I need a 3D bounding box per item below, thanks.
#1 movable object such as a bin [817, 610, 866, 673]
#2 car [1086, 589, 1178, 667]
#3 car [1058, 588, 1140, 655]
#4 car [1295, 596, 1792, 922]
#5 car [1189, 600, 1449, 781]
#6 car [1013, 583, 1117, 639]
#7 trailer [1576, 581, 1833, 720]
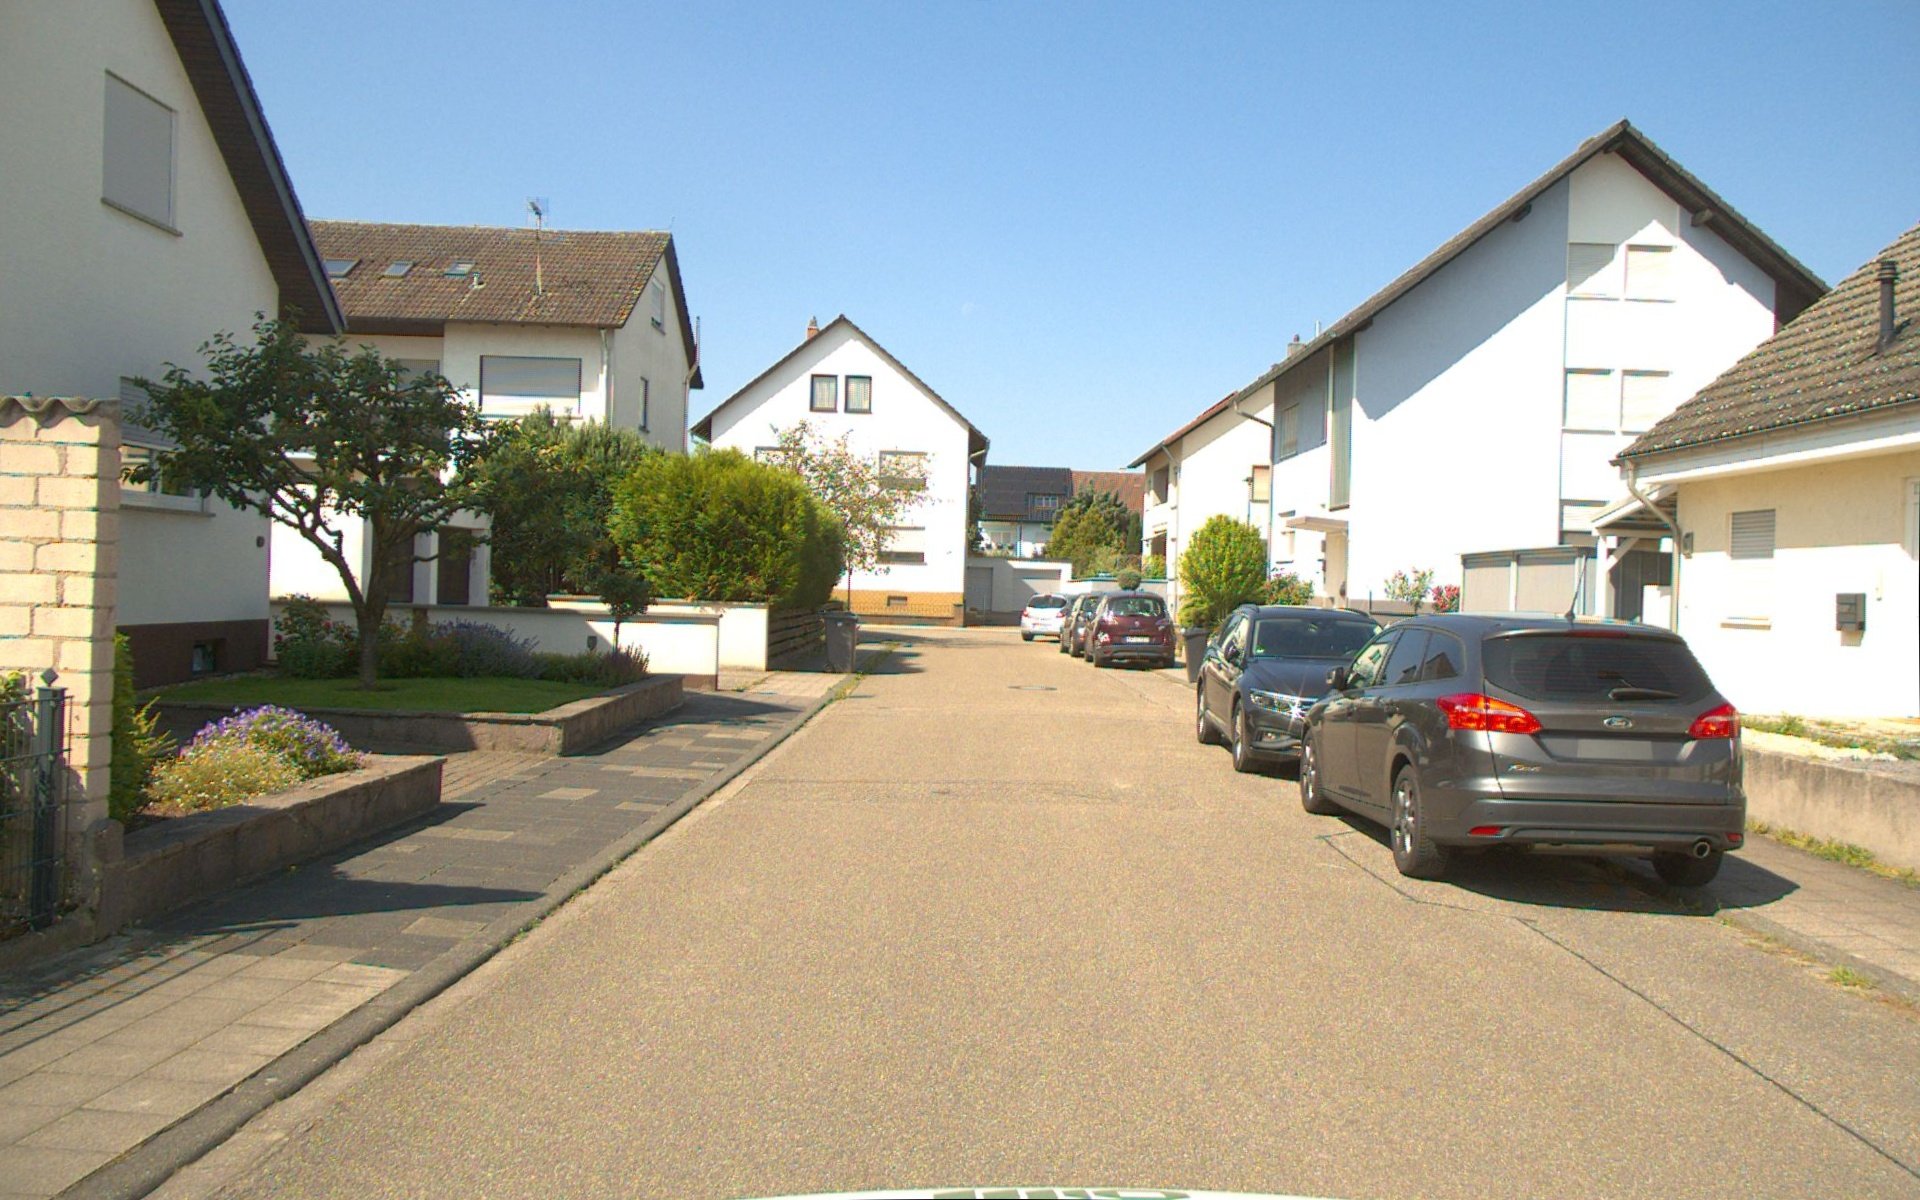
[{"bbox_3d":[-2.085,0.726,29.203,0.801,1.082,0.611,1,0,0],"label":"movable object such as a bin"},{"bbox_3d":[3.779,0.579,36.885,1.611,1.609,4.147,1,0,0],"label":"car"},{"bbox_3d":[3.475,0.506,41.883,1.612,1.573,4.046,1,0,-1],"label":"car"},{"bbox_3d":[3.356,0.800,10.358,1.609,1.504,4.000,3,1,0],"label":"car"},{"bbox_3d":[3.332,0.762,16.185,1.682,1.463,4.504,2,0,2],"label":"car"},{"bbox_3d":[3.309,0.352,51.521,1.615,1.609,3.800,2,0,31],"label":"car"},{"bbox_3d":[9.872,0.647,22.051,2.776,1.719,1.403,1,0,1],"label":"trailer"}]
